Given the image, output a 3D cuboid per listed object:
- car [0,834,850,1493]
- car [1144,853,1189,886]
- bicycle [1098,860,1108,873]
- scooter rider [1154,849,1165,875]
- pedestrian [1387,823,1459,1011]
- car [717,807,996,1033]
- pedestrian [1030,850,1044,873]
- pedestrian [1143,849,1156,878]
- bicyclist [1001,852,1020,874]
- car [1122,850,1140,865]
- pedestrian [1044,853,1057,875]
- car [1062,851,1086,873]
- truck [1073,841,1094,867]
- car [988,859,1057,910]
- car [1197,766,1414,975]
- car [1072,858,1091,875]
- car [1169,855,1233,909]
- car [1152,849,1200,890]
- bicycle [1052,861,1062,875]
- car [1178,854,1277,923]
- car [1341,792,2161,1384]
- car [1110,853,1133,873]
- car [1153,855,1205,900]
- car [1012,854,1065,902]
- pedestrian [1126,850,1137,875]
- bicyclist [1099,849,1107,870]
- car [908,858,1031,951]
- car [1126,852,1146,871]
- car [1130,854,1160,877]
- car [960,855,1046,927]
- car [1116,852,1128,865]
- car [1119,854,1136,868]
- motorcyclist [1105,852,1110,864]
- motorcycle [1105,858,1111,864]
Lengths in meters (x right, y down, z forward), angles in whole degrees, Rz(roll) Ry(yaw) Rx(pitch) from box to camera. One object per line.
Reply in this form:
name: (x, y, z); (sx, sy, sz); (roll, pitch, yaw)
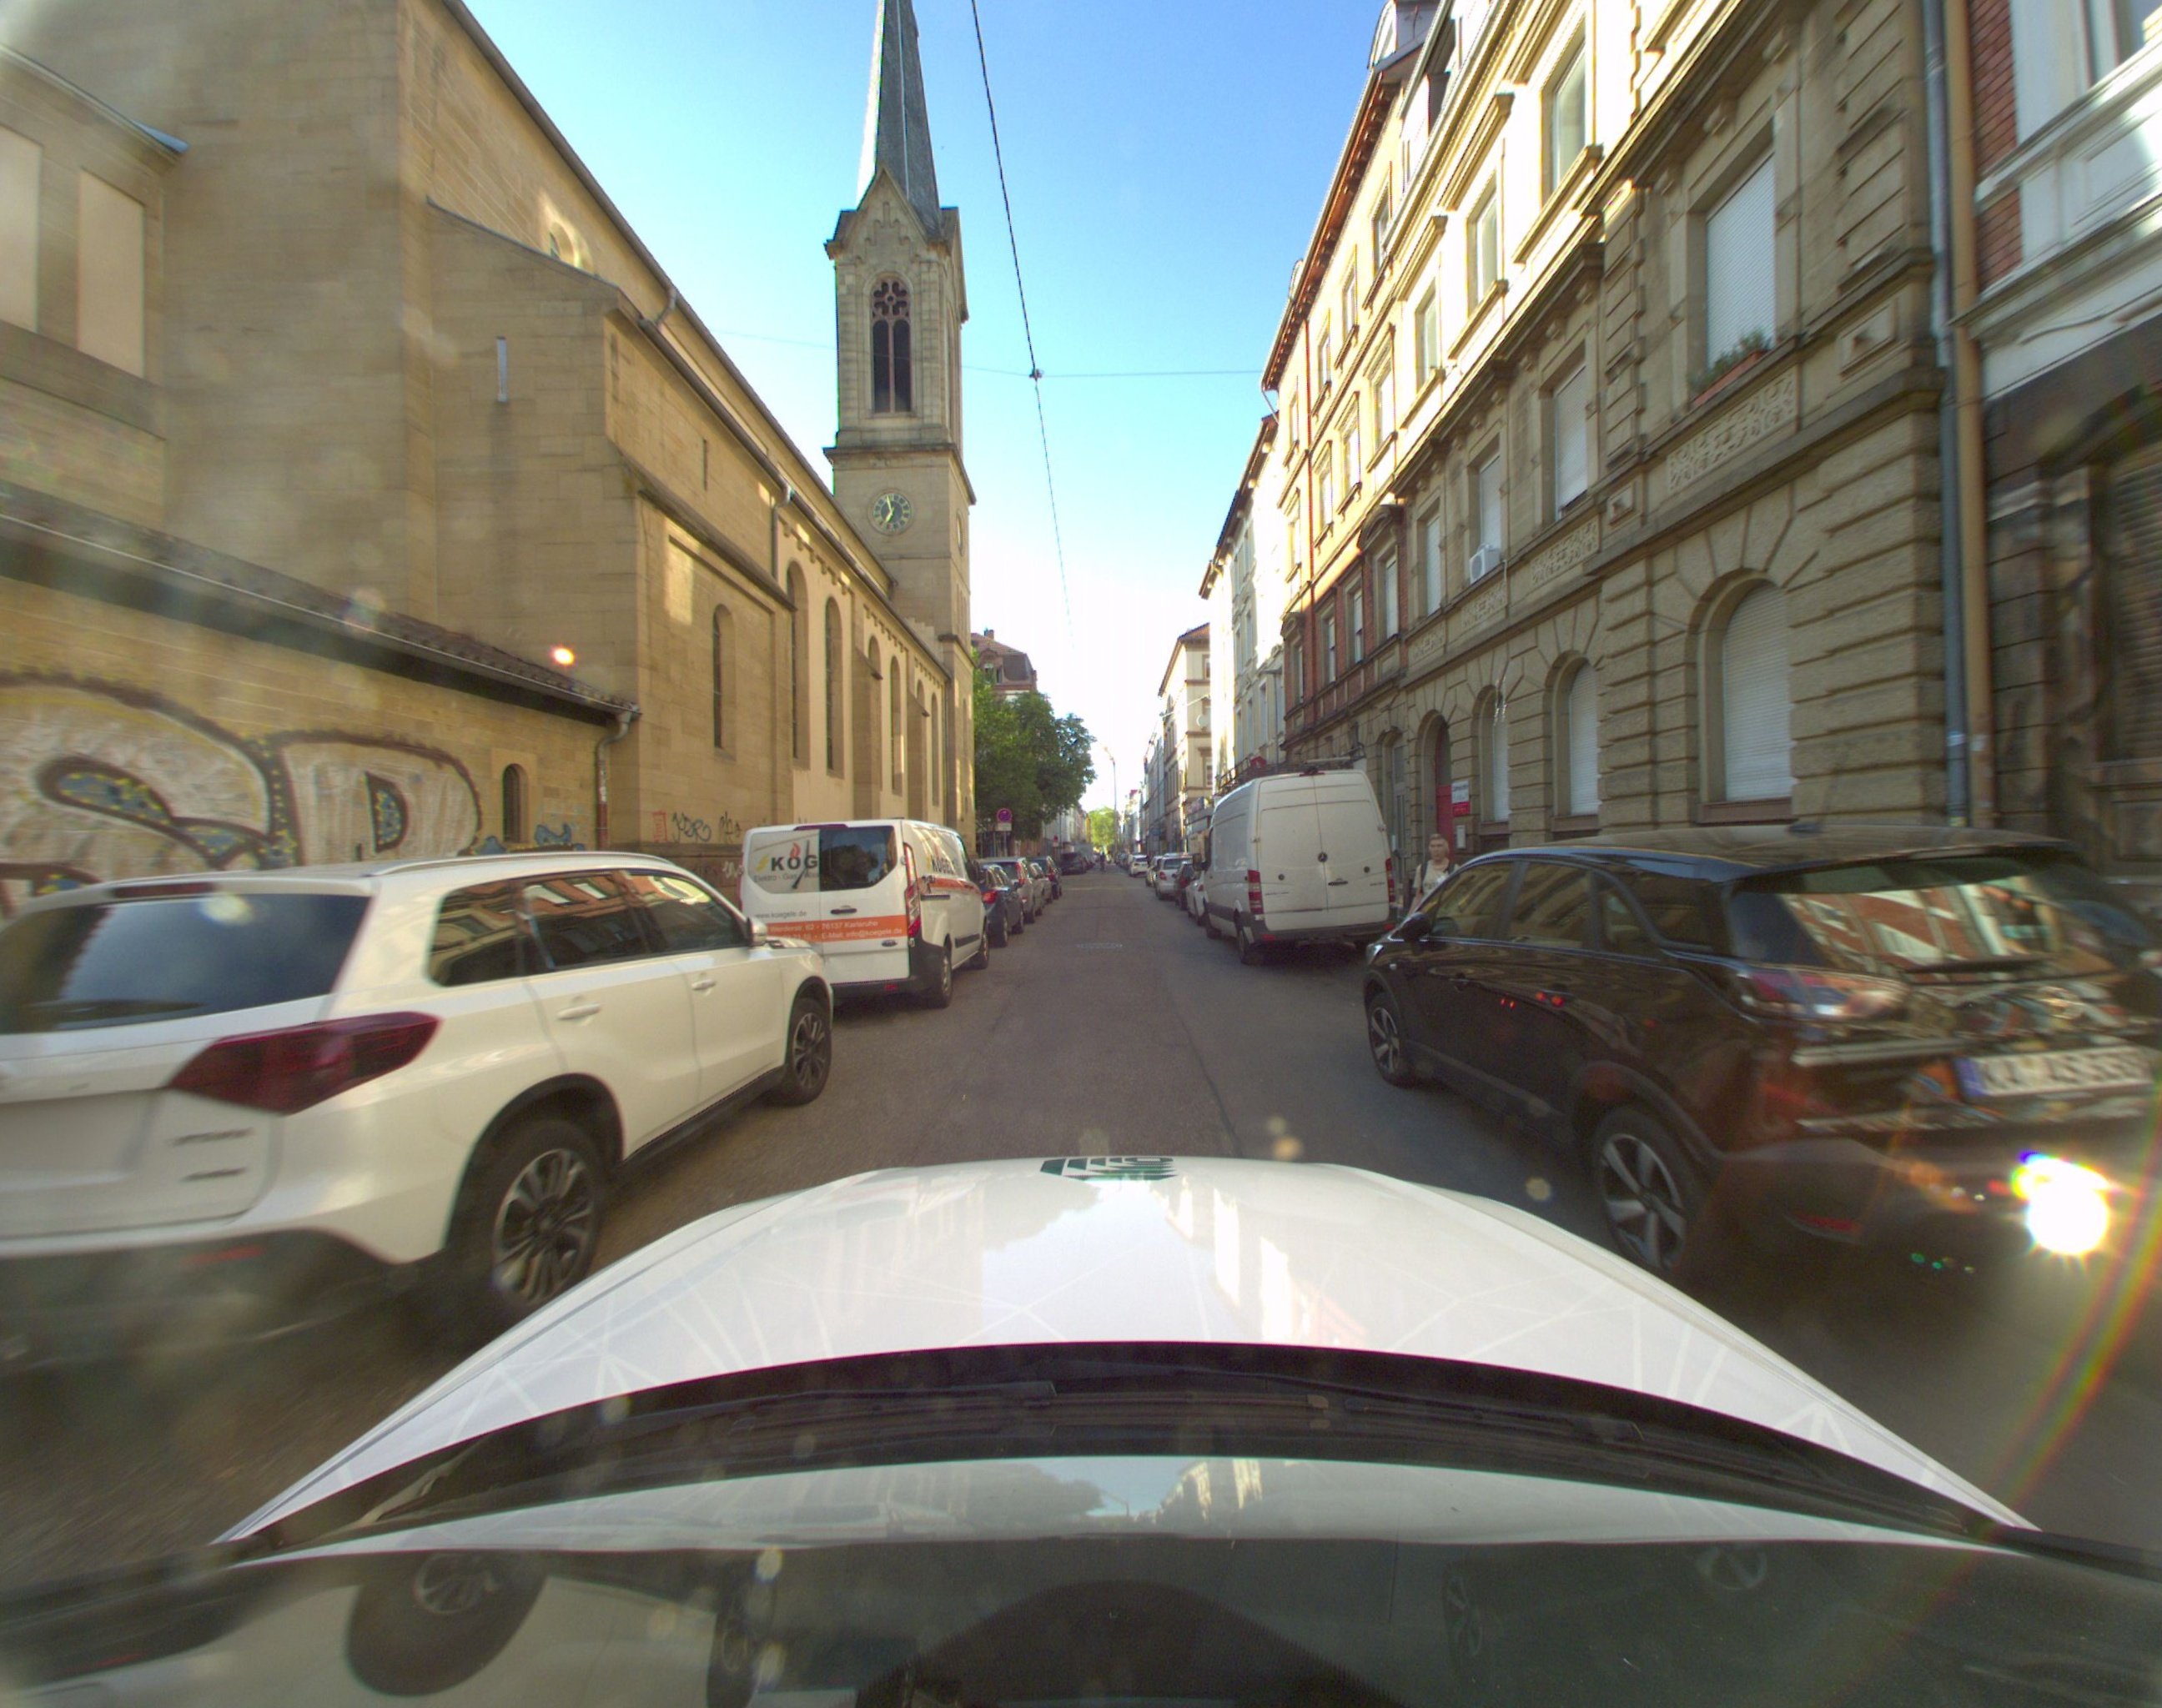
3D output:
car: (-2.599, 0.758, 3.915); (1.735, 1.586, 3.870); (-1, 0, 2)
car: (4.140, 0.724, 39.758); (1.711, 1.488, 3.868); (-1, 0, -1)
bicycle: (1.779, 1.020, 65.925); (0.736, 1.043, 1.860); (-1, 0, 2)
scooter rider: (5.011, 0.483, 51.833); (0.646, 1.642, 0.685); (-1, 0, 7)
pedestrian: (3.400, 0.593, 8.103); (0.634, 1.772, 0.682); (0, -1, 23)
car: (-2.272, 0.602, 9.665); (1.857, 1.957, 4.611); (-3, 0, 1)
pedestrian: (-3.439, 0.603, 63.828); (0.925, 1.786, 0.807); (-1, 0, 2)
pedestrian: (4.437, 0.611, 52.843); (0.681, 1.843, 0.692); (0, 0, -10)
bicyclist: (-4.153, 0.530, 47.979); (1.058, 1.306, 0.755); (-1, 0, -8)
car: (5.614, 0.428, 91.908); (1.986, 1.632, 4.002); (1, 0, 2)
pedestrian: (-2.406, 0.772, 63.766); (0.925, 1.637, 0.807); (-1, 0, 2)
car: (-0.565, 0.659, 70.033); (1.868, 1.796, 4.002); (-1, 0, 2)
truck: (0.406, 0.049, 108.350); (2.522, 3.282, 6.998); (-1, 0, 2)
car: (-1.794, 0.928, 26.175); (1.563, 1.398, 3.813); (-4, 0, 4)
car: (3.245, 0.205, 13.197); (2.060, 2.611, 5.890); (0, 0, 2)
car: (0.085, 1.354, 91.725); (1.868, 1.796, 4.002); (-1, 0, 2)
car: (3.559, 0.800, 24.623); (1.563, 1.495, 3.655); (1, 0, 3)
car: (3.993, 0.630, 34.891); (1.710, 1.645, 4.002); (-1, 0, 2)
bicycle: (-1.987, 1.162, 67.040); (0.644, 1.108, 1.600); (-1, 0, -9)
car: (3.452, 0.756, 19.911); (1.773, 1.486, 4.362); (1, 0, 2)
car: (2.772, 0.655, 4.238); (1.681, 1.642, 3.926); (-1, 0, 2)
car: (3.420, 0.768, 69.263); (1.890, 1.651, 4.002); (-1, 0, 2)
car: (3.493, 0.804, 29.468); (1.597, 1.505, 4.003); (0, 0, 3)
car: (-1.543, 0.850, 30.725); (1.594, 1.614, 3.809); (-3, 0, 1)
pedestrian: (3.771, 0.603, 61.179); (0.780, 1.843, 1.012); (0, 0, 0)
bicyclist: (1.760, 0.457, 65.890); (0.603, 1.688, 0.885); (-1, 0, 2)
car: (-1.986, 0.856, 15.547); (1.609, 1.452, 3.952); (-3, 0, 2)
car: (5.248, 0.691, 78.302); (1.762, 1.741, 4.002); (-1, 0, 2)
car: (4.517, 0.798, 57.871); (1.890, 1.488, 3.871); (-1, 0, 2)
car: (-1.851, 0.842, 20.472); (1.667, 1.558, 4.001); (-2, 0, 1)
car: (6.751, 0.687, 134.292); (1.986, 2.013, 4.002); (-1, 0, 2)
car: (5.850, 0.827, 102.790); (1.986, 1.686, 4.002); (1, 0, 2)
motorcyclist: (4.589, 0.646, 140.206); (0.899, 2.013, 1.190); (-1, 0, 0)
motorcycle: (4.618, 1.251, 139.951); (1.039, 0.980, 2.824); (-1, 0, 0)
